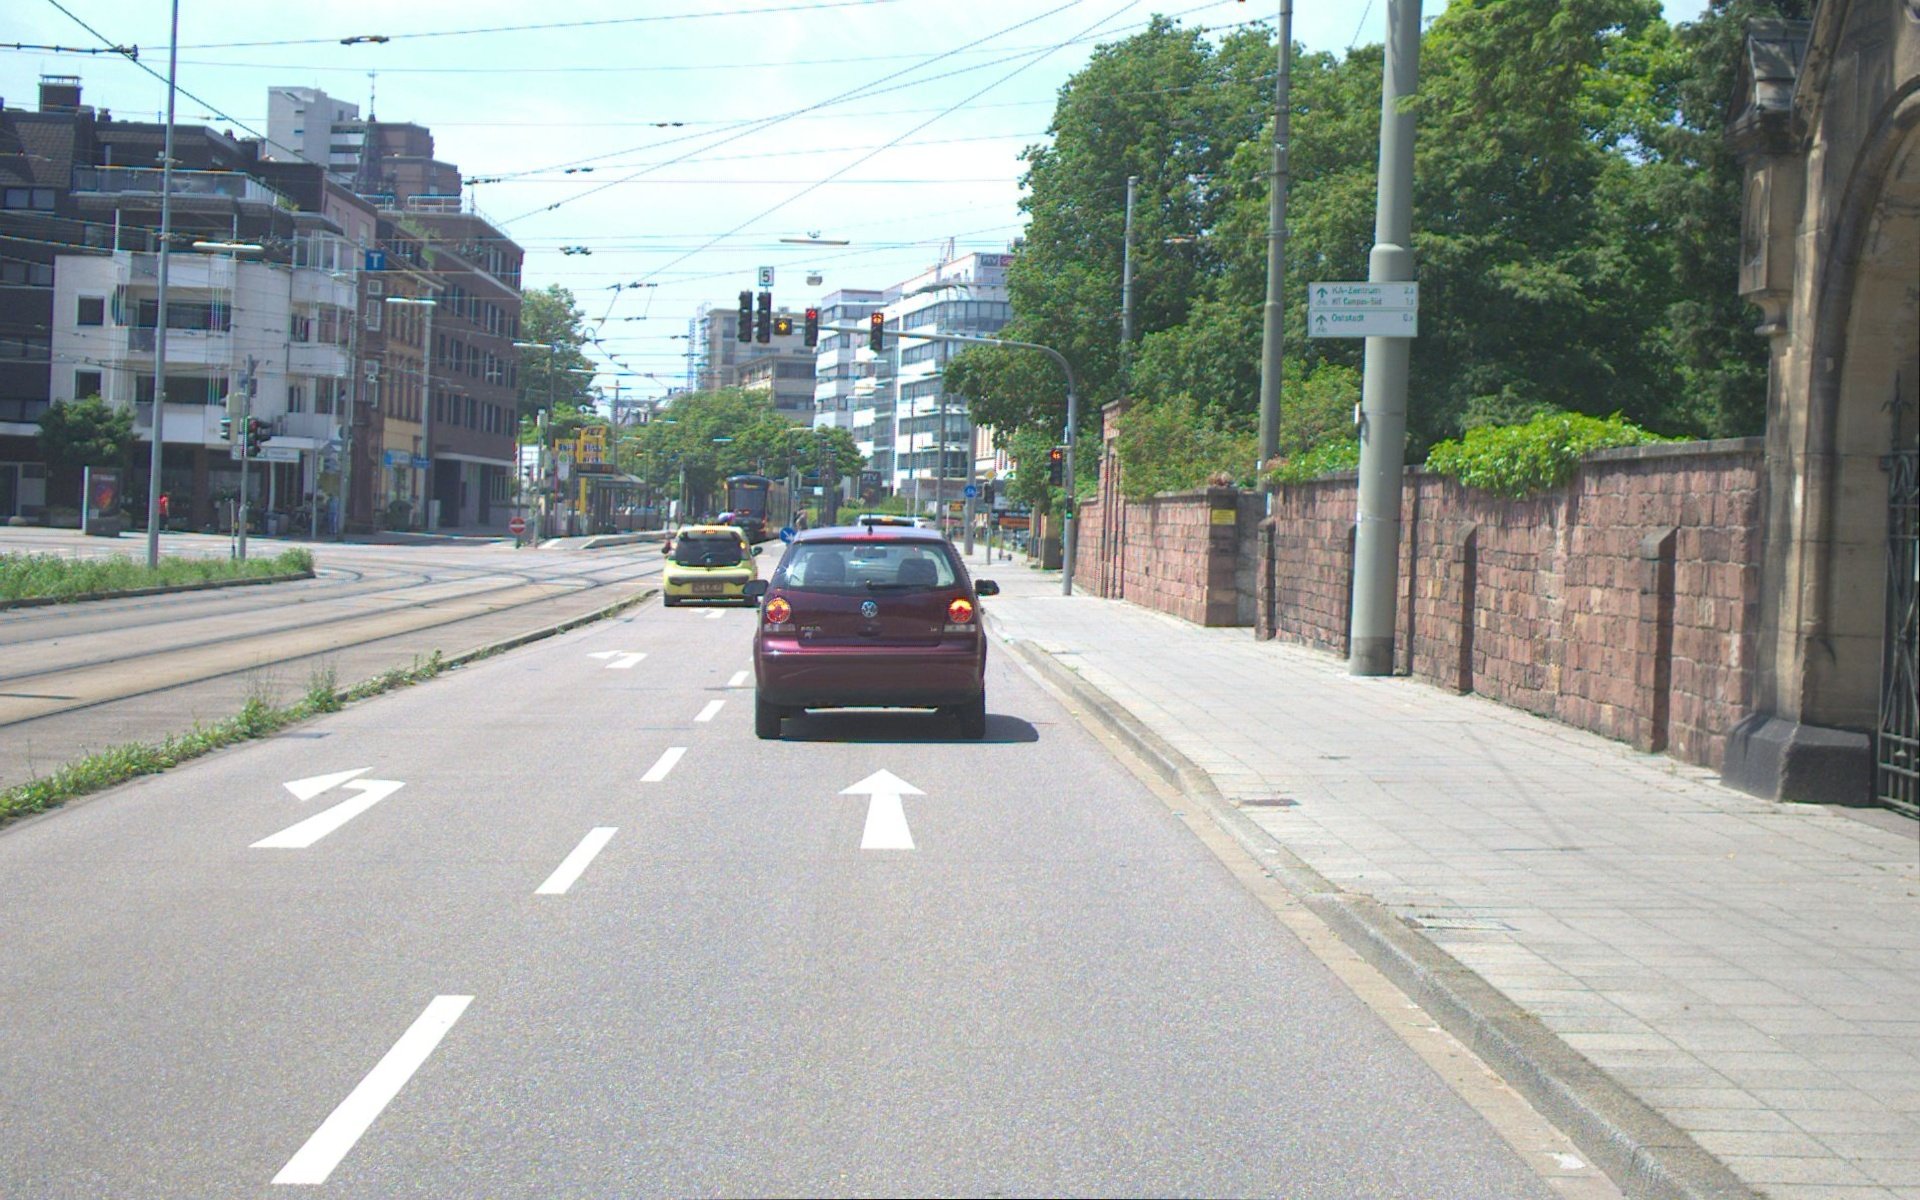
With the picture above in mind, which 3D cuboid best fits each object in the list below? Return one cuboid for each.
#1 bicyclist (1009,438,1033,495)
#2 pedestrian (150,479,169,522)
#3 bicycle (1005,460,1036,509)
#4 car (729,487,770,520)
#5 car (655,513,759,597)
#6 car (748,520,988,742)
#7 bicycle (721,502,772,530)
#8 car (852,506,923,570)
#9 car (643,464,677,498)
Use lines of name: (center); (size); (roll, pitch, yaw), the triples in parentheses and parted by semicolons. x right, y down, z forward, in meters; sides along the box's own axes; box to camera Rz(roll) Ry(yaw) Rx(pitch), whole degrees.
bicyclist: (1.962, -4.294, 110.934); (0.721, 1.812, 0.889); (1, 1, -1)
pedestrian: (-28.737, -3.583, 123.430); (0.484, 1.535, 0.538); (1, 1, 10)
bicycle: (1.958, -3.740, 111.377); (0.835, 1.520, 4.000); (1, 1, -1)
car: (-10.644, -4.868, 174.044); (1.938, 1.635, 4.000); (1, 1, -1)
car: (-4.555, -0.834, 62.189); (1.723, 1.440, 3.293); (0, 2, -2)
car: (-0.672, 0.161, 25.217); (1.610, 1.458, 4.086); (0, 2, -2)
bicycle: (-7.895, -3.106, 127.214); (1.865, 1.004, 0.579); (1, 1, -5)
car: (-1.679, -1.452, 78.951); (1.572, 1.411, 3.720); (0, 2, -1)
car: (-18.400, -7.299, 211.269); (1.735, 2.006, 4.001); (2, 2, -1)
